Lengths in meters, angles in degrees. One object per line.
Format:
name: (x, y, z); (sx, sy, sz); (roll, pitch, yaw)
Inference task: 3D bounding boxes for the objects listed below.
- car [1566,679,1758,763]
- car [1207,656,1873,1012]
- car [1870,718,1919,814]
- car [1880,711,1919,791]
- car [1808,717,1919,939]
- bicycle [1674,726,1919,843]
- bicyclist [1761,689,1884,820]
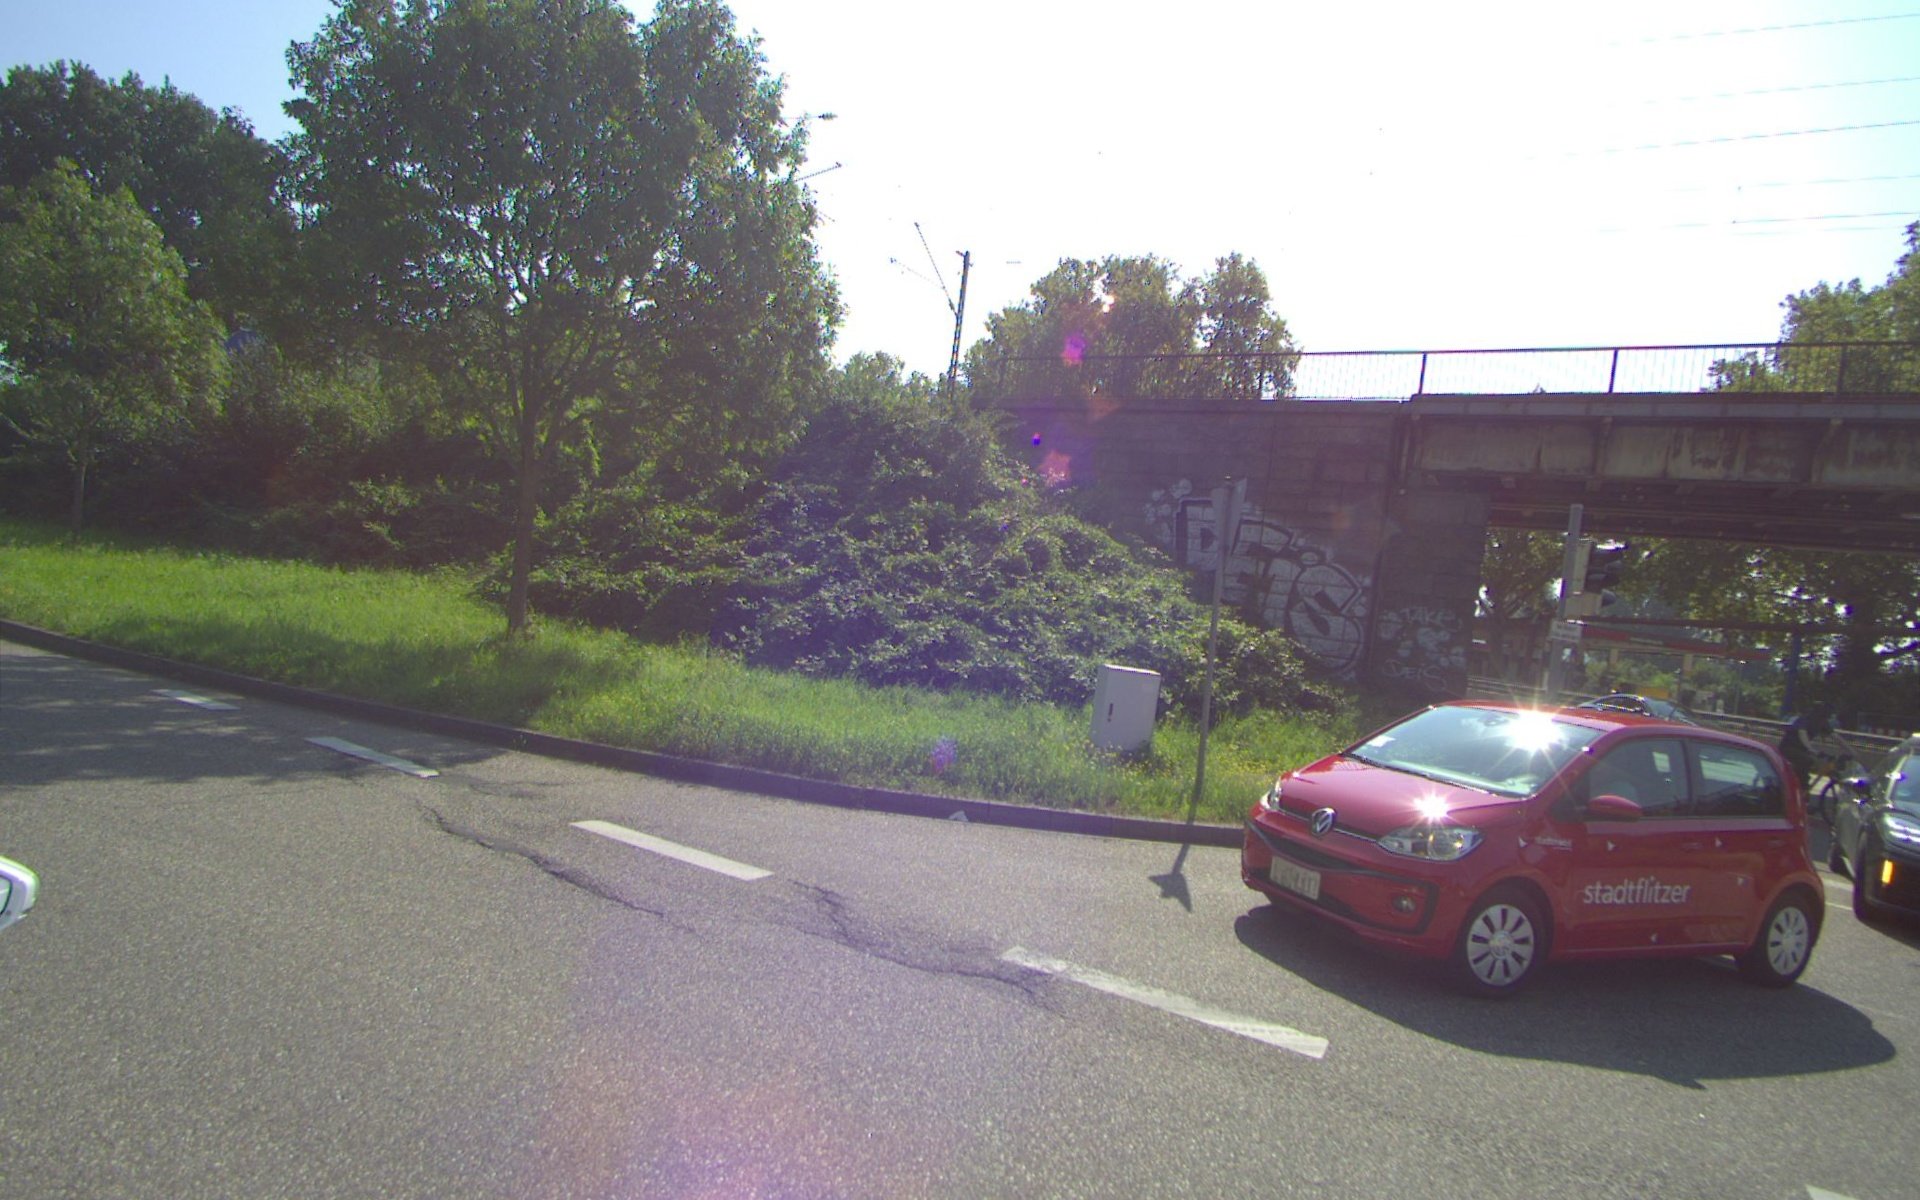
car: (19.171, 3.249, 27.750); (1.826, 1.501, 4.178); (8, 1, -8)
car: (3.466, 1.290, 6.010); (3.508, 1.485, 1.634); (7, -1, -25)
car: (17.675, 3.033, 16.024); (1.965, 1.541, 4.339); (6, 1, -8)
car: (20.364, 3.271, 18.760); (1.966, 1.489, 4.337); (8, 2, -8)
car: (9.096, 1.971, 8.942); (1.970, 1.481, 4.869); (5, -1, 37)
bicycle: (12.416, 2.662, 14.843); (1.214, 1.062, 2.972); (8, 0, -10)
bicyclist: (12.524, 2.225, 14.636); (0.701, 1.679, 0.968); (7, 1, -10)
